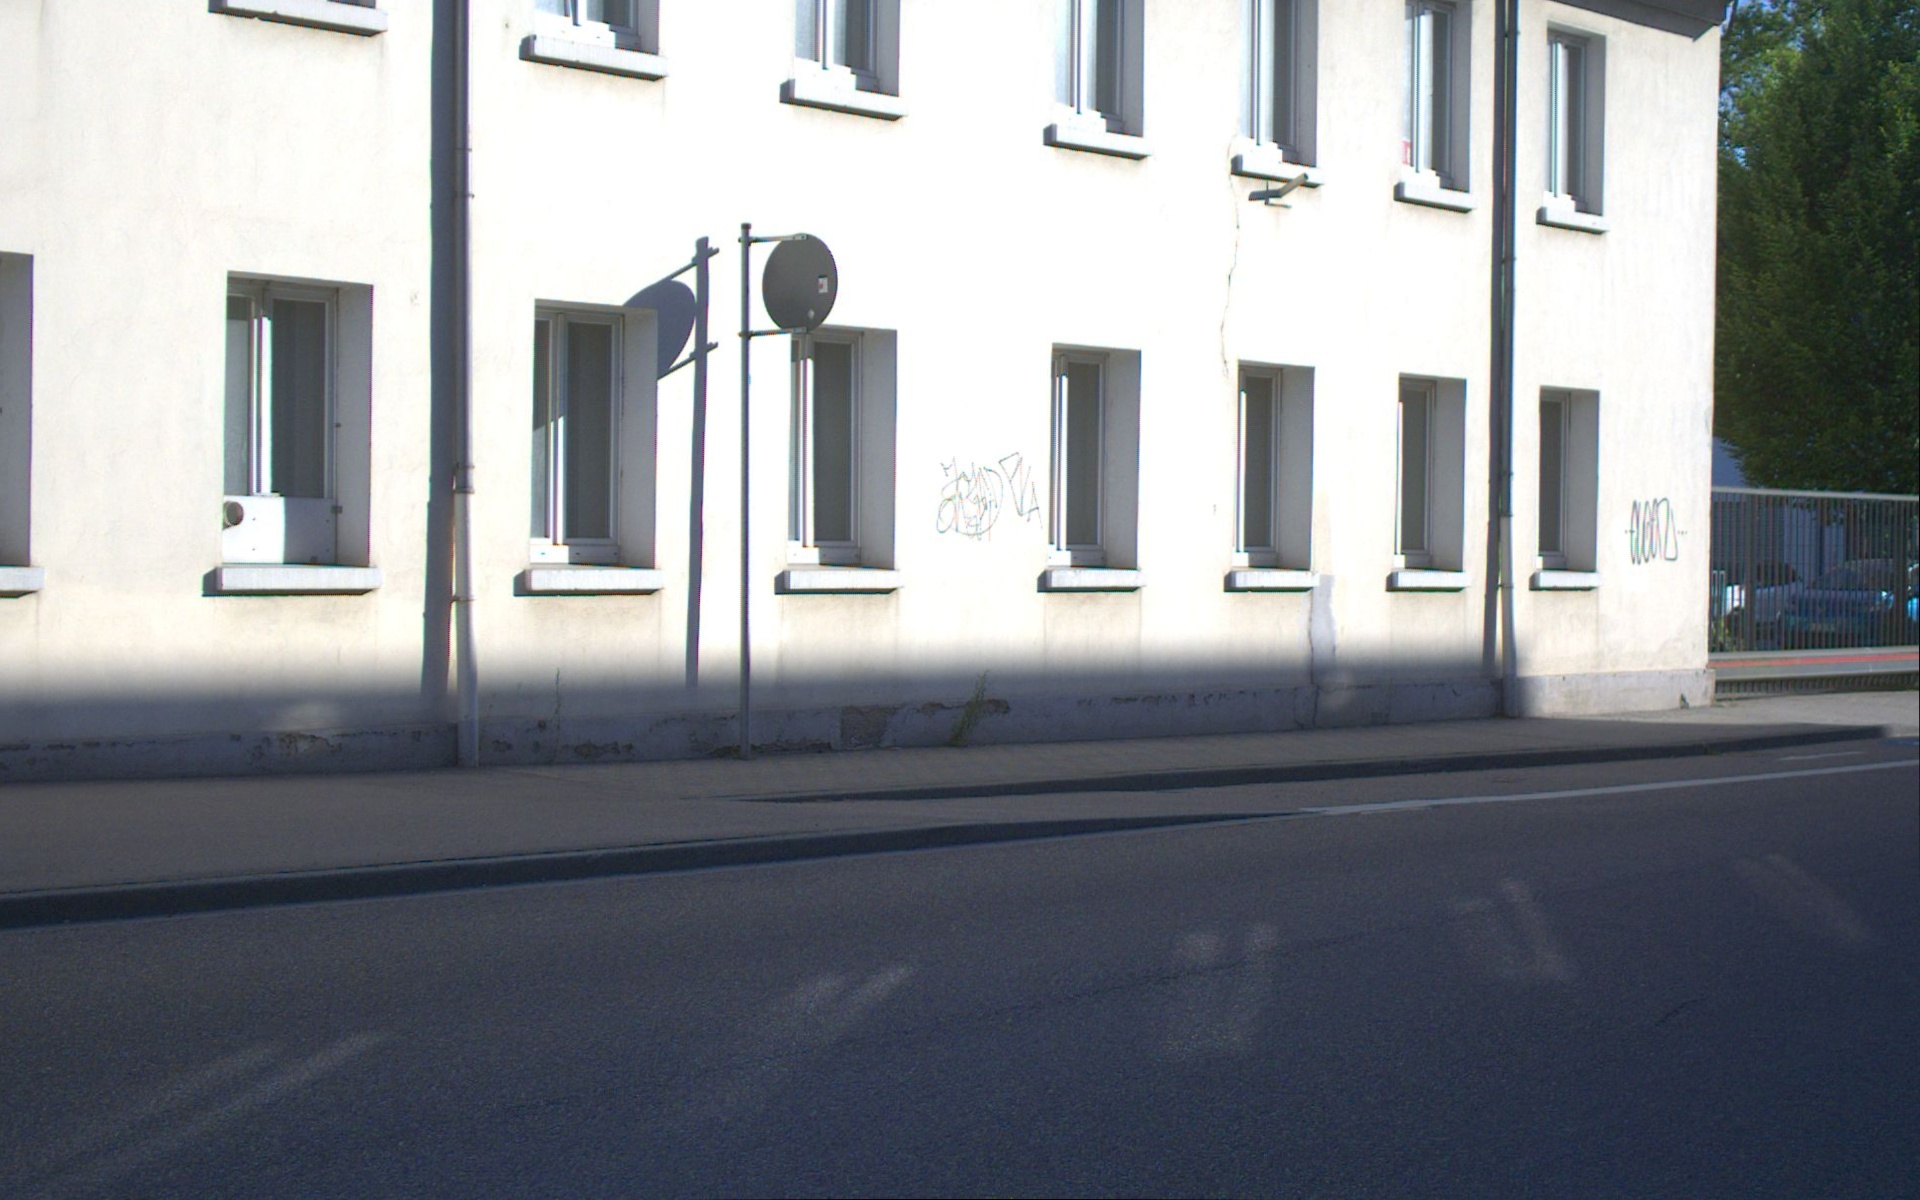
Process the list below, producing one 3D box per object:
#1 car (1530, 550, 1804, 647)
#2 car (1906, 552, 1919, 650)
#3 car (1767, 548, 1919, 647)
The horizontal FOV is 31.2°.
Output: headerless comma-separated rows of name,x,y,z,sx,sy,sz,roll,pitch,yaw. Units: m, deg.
car,11.571,-0.042,56.369,3.996,1.535,1.871,0,1,40
car,16.134,0.033,52.021,1.998,1.446,3.991,2,1,40
car,14.432,-0.045,53.631,1.998,1.446,3.991,2,1,40
